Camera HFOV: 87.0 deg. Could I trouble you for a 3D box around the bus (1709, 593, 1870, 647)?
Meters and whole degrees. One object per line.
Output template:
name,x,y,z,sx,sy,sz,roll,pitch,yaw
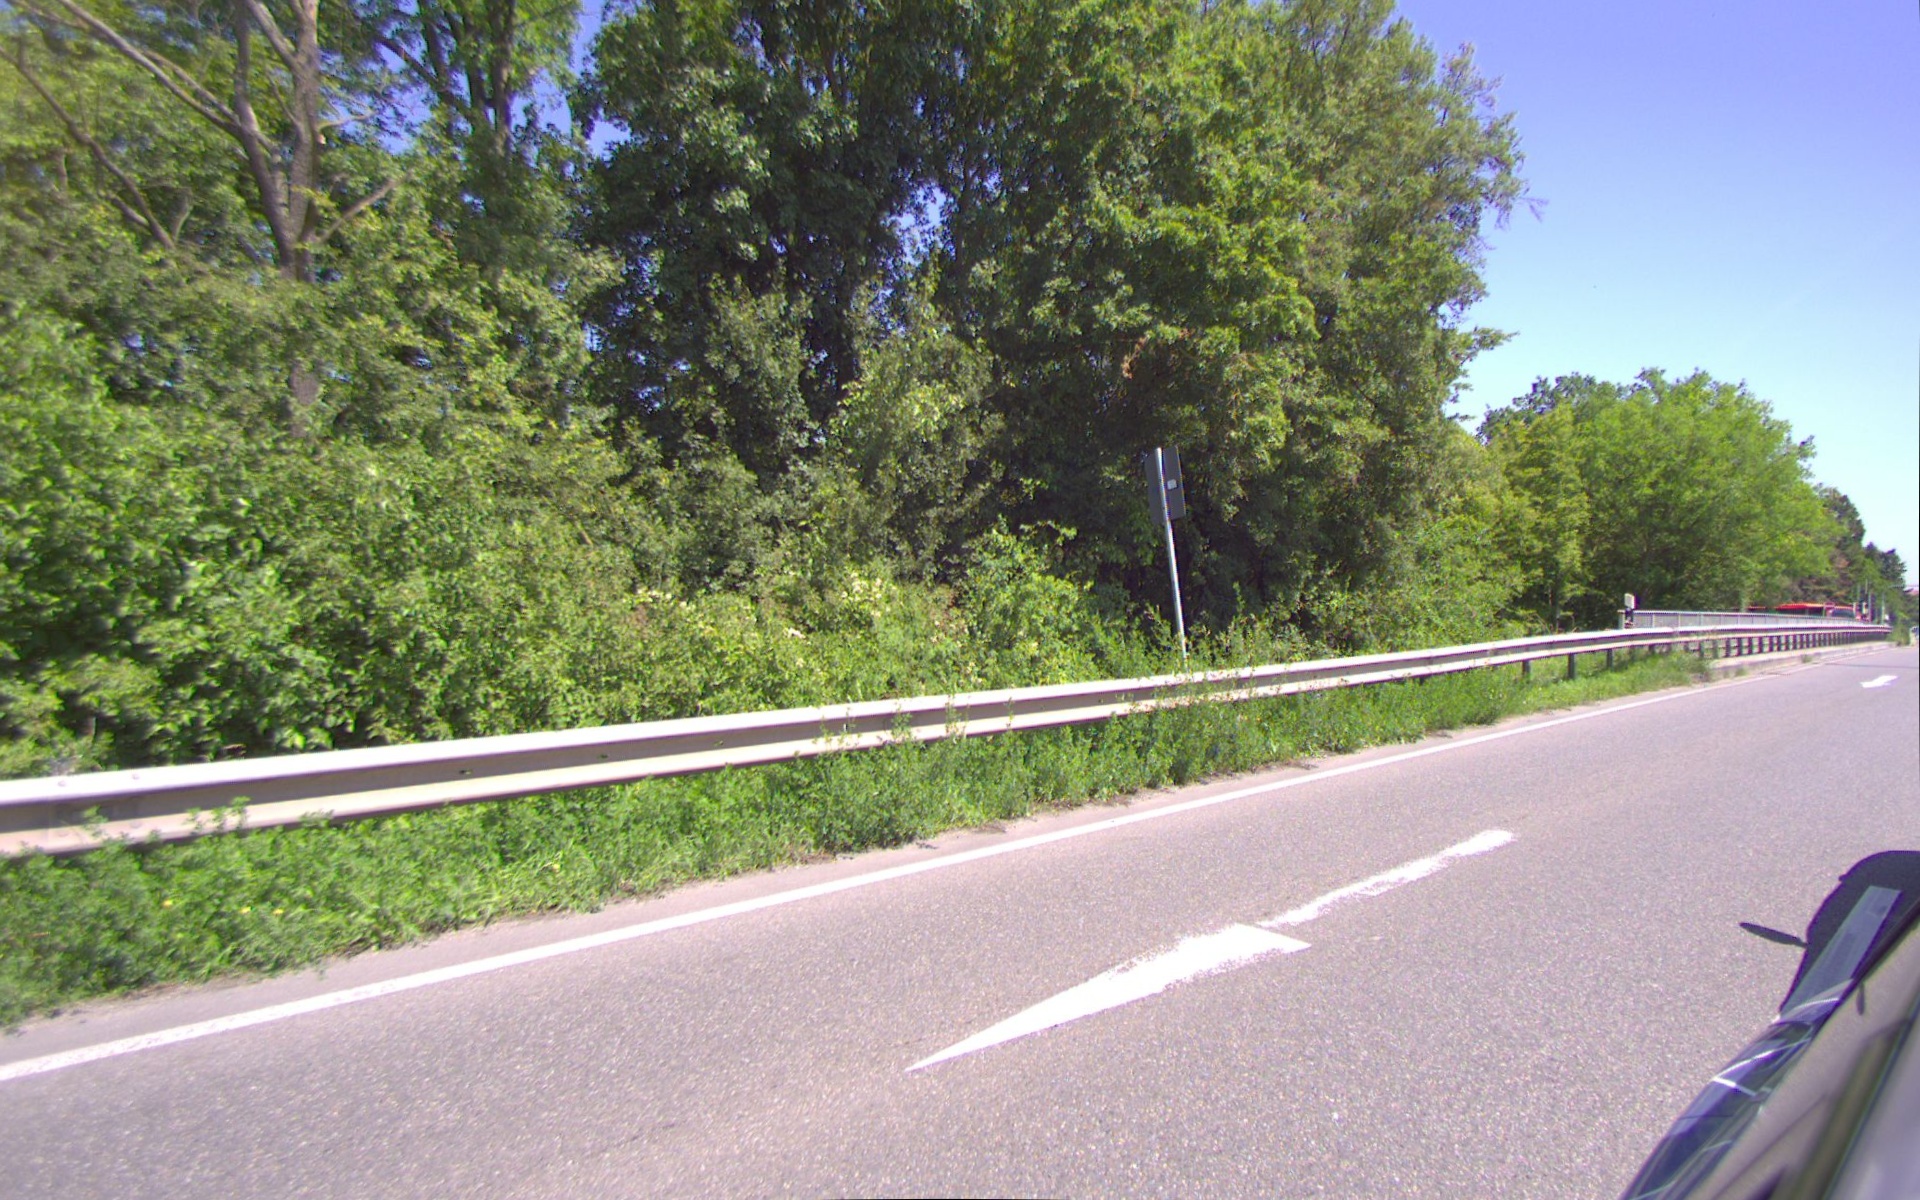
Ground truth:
bus,65.106,1.439,80.030,2.815,3.708,12.425,1,1,2
